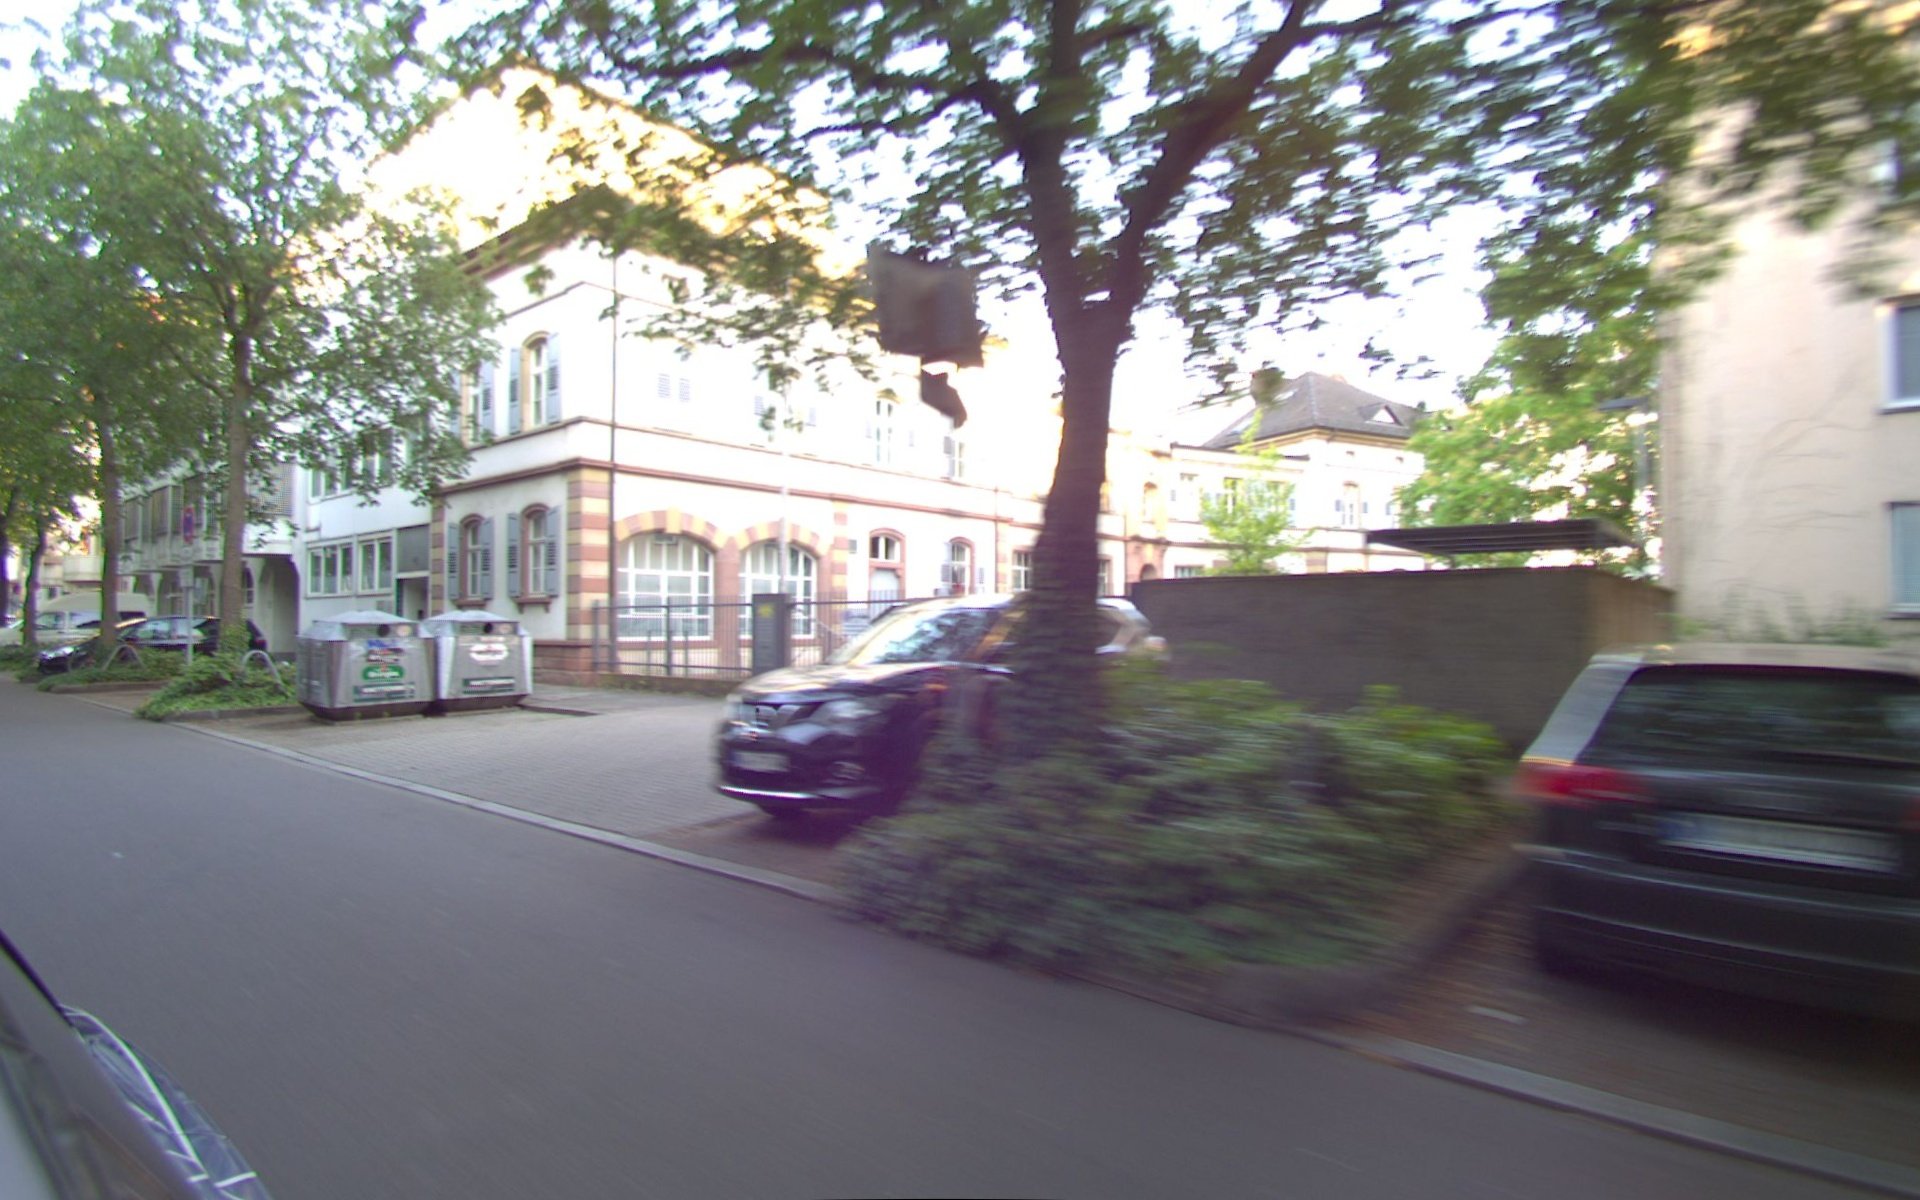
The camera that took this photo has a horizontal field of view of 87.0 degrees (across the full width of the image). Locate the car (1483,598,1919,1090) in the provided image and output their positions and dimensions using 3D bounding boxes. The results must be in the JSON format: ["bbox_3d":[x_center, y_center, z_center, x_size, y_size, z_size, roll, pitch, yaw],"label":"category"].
[{"bbox_3d":[3.944,0.771,4.732,1.920,1.475,3.948,-1,-2,39],"label":"car"}]

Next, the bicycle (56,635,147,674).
[{"bbox_3d":[-19.716,1.234,23.266,0.613,0.837,1.535,-2,-2,43],"label":"bicycle"}]

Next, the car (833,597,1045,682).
[{"bbox_3d":[-0.549,0.879,23.251,4.672,1.771,1.978,-1,-2,37],"label":"car"}]

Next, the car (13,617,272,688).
[{"bbox_3d":[-20.533,1.249,25.595,2.159,1.634,4.802,-1,-2,41],"label":"car"}]

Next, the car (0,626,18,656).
[{"bbox_3d":[-52.077,2.150,52.549,1.870,1.537,4.463,-2,-2,40],"label":"car"}]

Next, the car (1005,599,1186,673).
[{"bbox_3d":[3.789,1.015,28.746,4.681,1.940,2.126,-1,-2,37],"label":"car"}]

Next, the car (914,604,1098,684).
[{"bbox_3d":[1.105,1.076,25.489,4.341,1.835,1.879,-1,-2,37],"label":"car"}]

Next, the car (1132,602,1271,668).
[{"bbox_3d":[7.872,1.121,33.153,3.994,2.029,1.975,-1,-2,38],"label":"car"}]

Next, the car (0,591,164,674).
[{"bbox_3d":[-29.902,1.065,33.743,2.119,2.592,4.952,-2,-2,40],"label":"car"}]

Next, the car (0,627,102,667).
[{"bbox_3d":[-36.076,1.796,39.164,1.952,1.480,4.124,-2,-2,41],"label":"car"}]

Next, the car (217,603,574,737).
[{"bbox_3d":[-8.623,0.978,15.819,1.998,1.785,4.461,-1,-2,39],"label":"car"}]

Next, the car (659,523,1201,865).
[{"bbox_3d":[0.047,0.587,8.214,1.998,1.970,4.461,-1,-2,39],"label":"car"}]
